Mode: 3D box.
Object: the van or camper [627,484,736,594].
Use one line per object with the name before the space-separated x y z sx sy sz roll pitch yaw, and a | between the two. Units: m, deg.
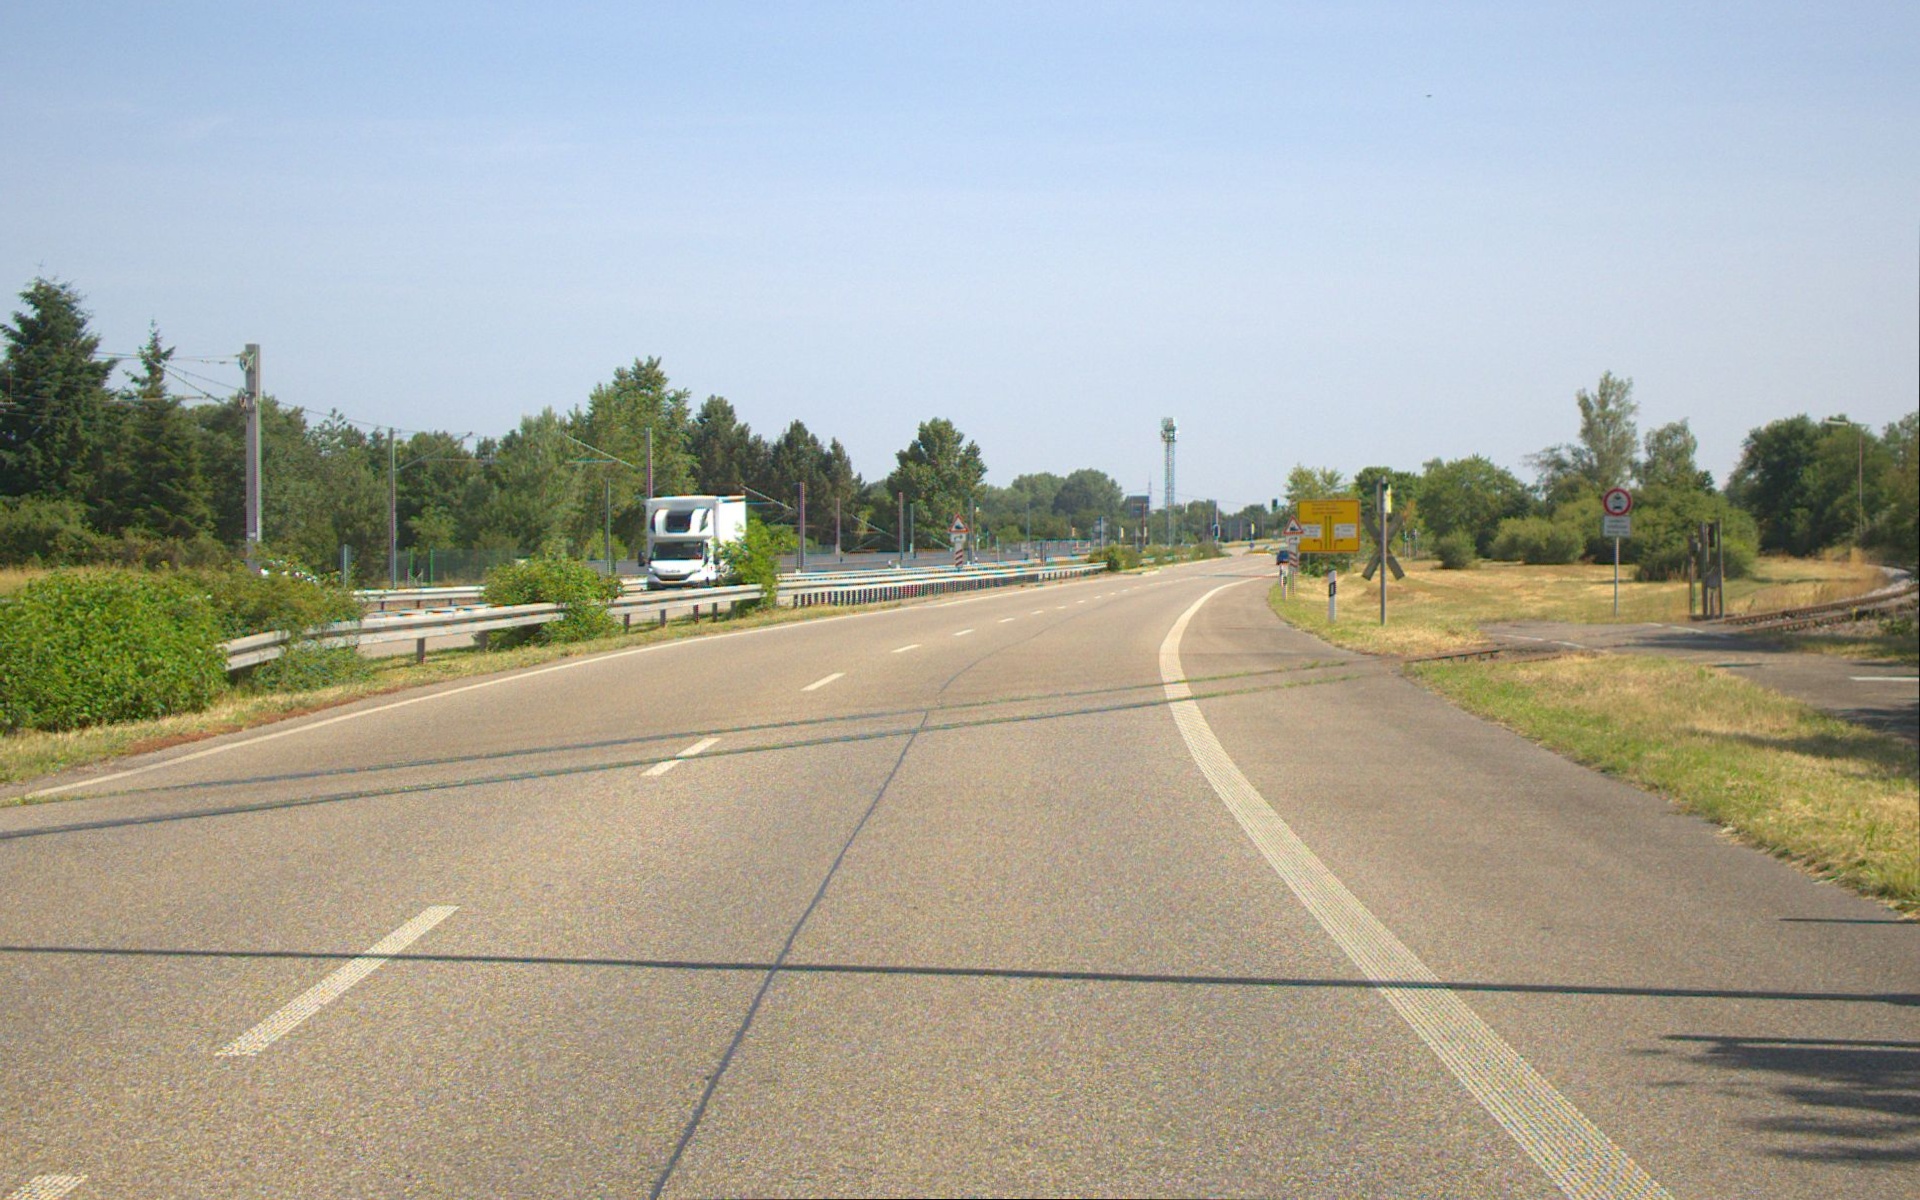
van or camper | -9.628 -2.118 119.823 2.876 3.668 8.644 0 1 1
